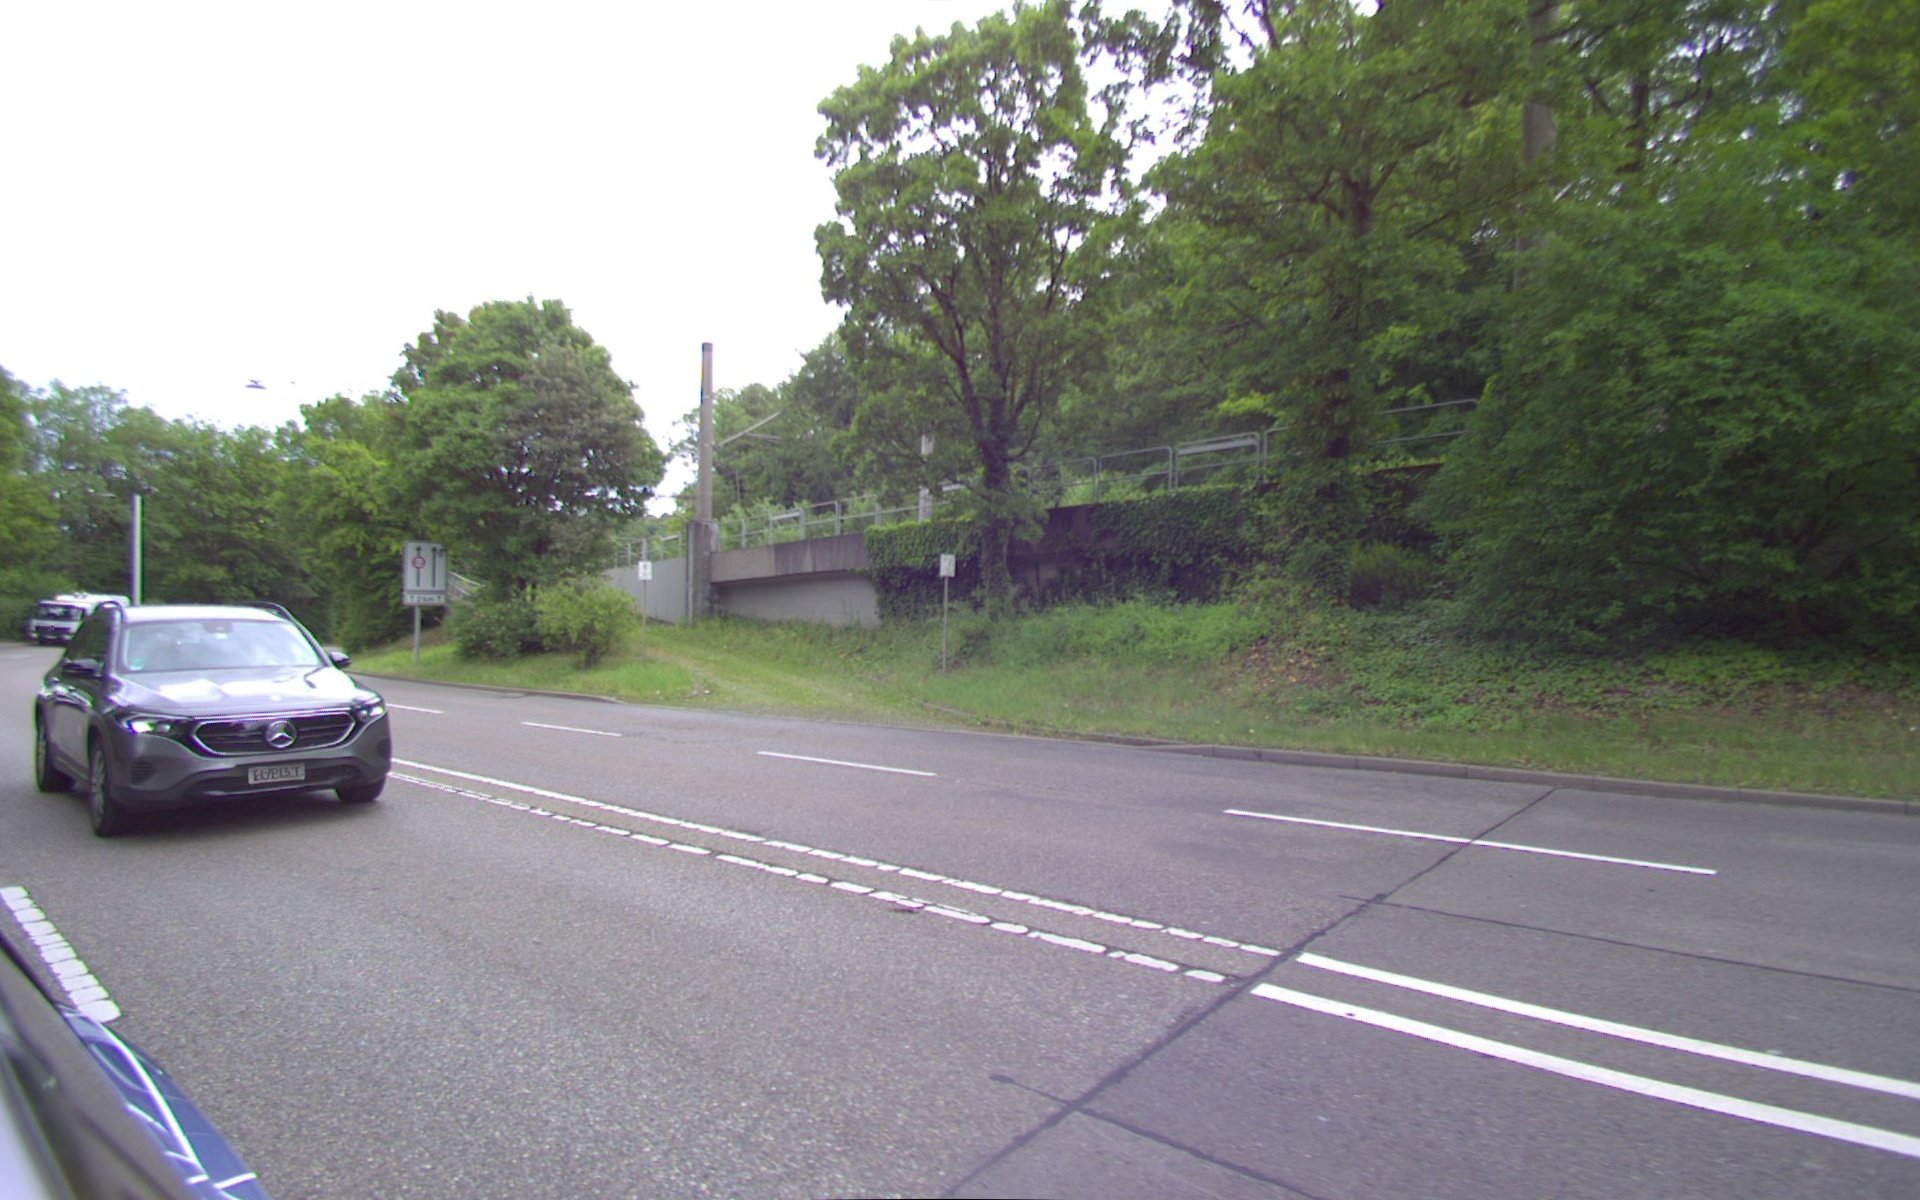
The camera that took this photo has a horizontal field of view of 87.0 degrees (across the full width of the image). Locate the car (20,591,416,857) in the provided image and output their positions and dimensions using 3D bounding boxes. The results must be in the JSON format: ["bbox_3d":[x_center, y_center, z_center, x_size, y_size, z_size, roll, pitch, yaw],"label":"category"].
[{"bbox_3d":[-6.368,0.831,8.487,4.356,1.664,1.830,-2,-2,42],"label":"car"}]

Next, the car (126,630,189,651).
[{"bbox_3d":[-55.192,2.813,69.672,1.727,1.372,4.020,3,-4,-13],"label":"car"}]

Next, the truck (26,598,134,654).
[{"bbox_3d":[-52.600,1.616,60.718,2.164,3.180,6.670,2,-3,-16],"label":"truck"}]

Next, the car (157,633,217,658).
[{"bbox_3d":[-47.096,2.761,61.737,1.636,1.401,4.196,3,-4,-20],"label":"car"}]
